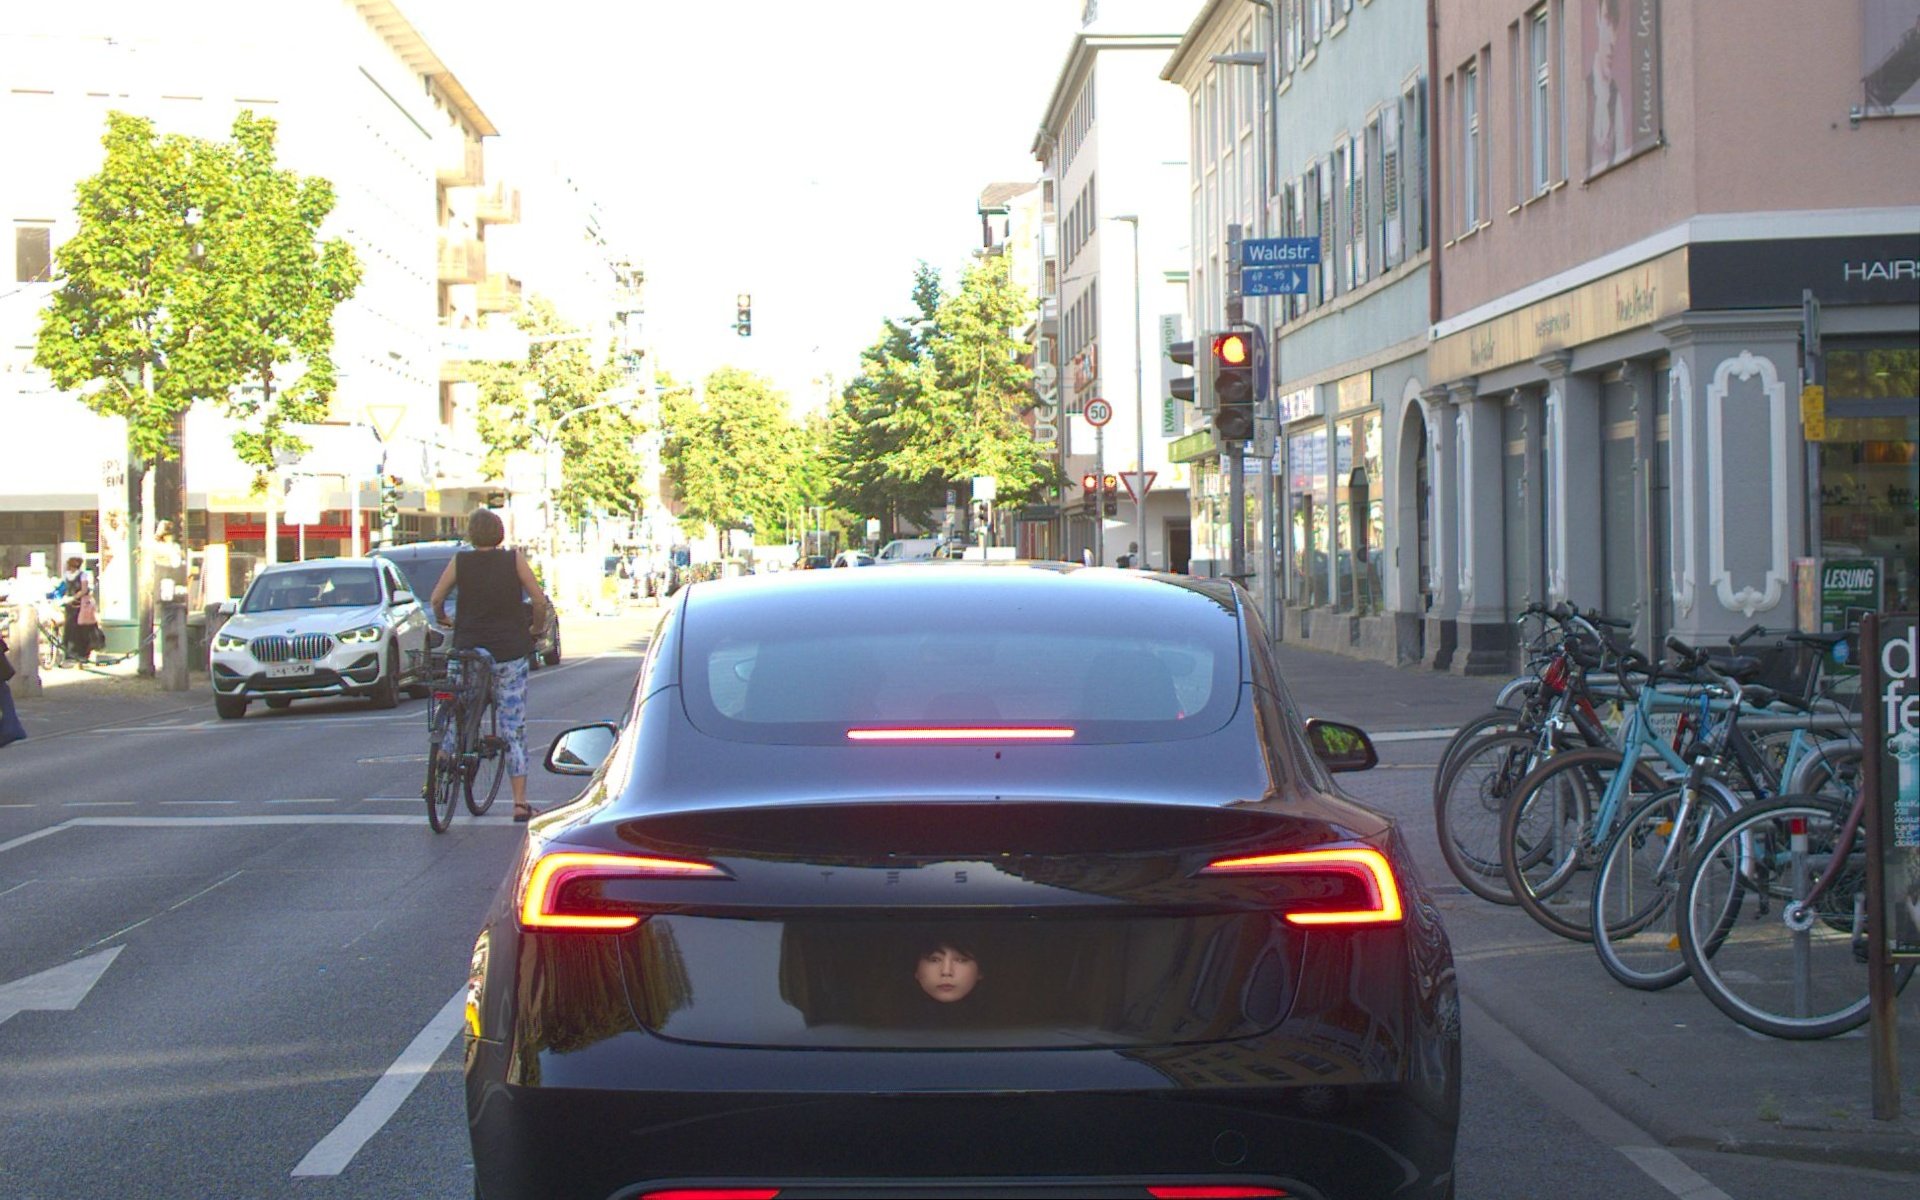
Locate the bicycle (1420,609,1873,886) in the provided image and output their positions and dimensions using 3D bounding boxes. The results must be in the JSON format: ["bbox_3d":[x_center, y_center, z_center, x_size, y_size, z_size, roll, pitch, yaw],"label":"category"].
[{"bbox_3d":[2.921,0.619,14.743,1.813,1.148,0.653,0,1,1],"label":"bicycle"}]

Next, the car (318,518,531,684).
[{"bbox_3d":[-6.575,-0.029,42.670,1.945,1.940,4.820,0,1,-1],"label":"car"}]

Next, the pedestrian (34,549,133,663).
[{"bbox_3d":[-12.564,0.080,49.312,1.092,1.606,1.266,1,0,-1],"label":"pedestrian"}]

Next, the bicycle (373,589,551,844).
[{"bbox_3d":[-2.645,0.589,18.436,0.628,1.218,2.001,1,2,1],"label":"bicycle"}]

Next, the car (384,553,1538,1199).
[{"bbox_3d":[-0.026,0.636,7.780,1.850,1.442,4.452,1,1,-1],"label":"car"}]

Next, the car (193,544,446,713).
[{"bbox_3d":[-6.690,0.261,36.347,1.825,1.559,4.301,-4,1,-1],"label":"car"}]

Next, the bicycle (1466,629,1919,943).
[{"bbox_3d":[2.798,0.663,12.535,1.813,1.098,0.653,0,1,1],"label":"bicycle"}]

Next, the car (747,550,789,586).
[{"bbox_3d":[-10.446,-1.745,187.140,2.132,1.963,4.134,0,1,-1],"label":"car"}]

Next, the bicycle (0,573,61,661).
[{"bbox_3d":[-14.491,0.224,49.872,2.662,1.255,0.943,1,0,-3],"label":"bicycle"}]

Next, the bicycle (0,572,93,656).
[{"bbox_3d":[-14.536,0.196,52.147,2.542,1.247,0.943,1,0,-3],"label":"bicycle"}]

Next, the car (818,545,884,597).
[{"bbox_3d":[-3.786,-1.021,120.116,2.035,1.782,4.006,0,1,2],"label":"car"}]

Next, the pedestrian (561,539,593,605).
[{"bbox_3d":[-10.815,-0.795,97.010,0.732,1.861,0.791,1,0,-17],"label":"pedestrian"}]

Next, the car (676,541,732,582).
[{"bbox_3d":[-12.398,-1.872,166.458,2.414,1.963,4.678,0,1,-1],"label":"car"}]

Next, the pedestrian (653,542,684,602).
[{"bbox_3d":[-9.038,-0.867,106.650,0.774,1.861,1.009,1,0,-15],"label":"pedestrian"}]

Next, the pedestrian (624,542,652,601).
[{"bbox_3d":[-10.324,-0.923,110.326,0.694,1.861,0.910,1,0,-17],"label":"pedestrian"}]

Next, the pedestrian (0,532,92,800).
[{"bbox_3d":[-6.489,0.410,22.571,1.111,1.714,1.060,1,0,20],"label":"pedestrian"}]

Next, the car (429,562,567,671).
[{"bbox_3d":[-6.657,0.211,49.803,1.461,1.425,3.606,-4,1,-1],"label":"car"}]

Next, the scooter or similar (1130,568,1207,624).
[{"bbox_3d":[4.255,-0.079,70.317,1.333,1.131,0.810,1,0,-24],"label":"scooter or similar"}]

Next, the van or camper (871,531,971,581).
[{"bbox_3d":[-1.904,-2.137,167.555,4.850,2.430,1.851,0,1,-1],"label":"van or camper"}]

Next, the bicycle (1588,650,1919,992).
[{"bbox_3d":[2.998,0.699,11.129,1.813,1.056,0.653,0,1,1],"label":"bicycle"}]

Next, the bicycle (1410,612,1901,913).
[{"bbox_3d":[2.729,0.627,13.609,1.813,1.148,0.653,0,1,1],"label":"bicycle"}]

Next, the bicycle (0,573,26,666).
[{"bbox_3d":[-14.489,0.242,47.553,2.875,1.266,0.943,1,0,-3],"label":"bicycle"}]

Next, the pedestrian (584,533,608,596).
[{"bbox_3d":[-10.999,-1.072,103.885,0.695,1.861,0.659,1,0,-5],"label":"pedestrian"}]

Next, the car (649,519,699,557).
[{"bbox_3d":[-15.652,-3.360,188.287,2.275,2.007,4.717,1,1,1],"label":"car"}]

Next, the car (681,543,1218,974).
[{"bbox_3d":[-0.062,0.531,14.205,1.850,1.476,4.452,1,1,-1],"label":"car"}]

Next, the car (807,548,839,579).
[{"bbox_3d":[-8.273,-2.223,208.492,1.892,1.807,3.925,1,1,-2],"label":"car"}]

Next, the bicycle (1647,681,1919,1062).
[{"bbox_3d":[3.024,0.766,10.057,1.882,1.040,0.653,-1,1,1],"label":"bicycle"}]

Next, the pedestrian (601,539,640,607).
[{"bbox_3d":[-9.332,-0.749,94.540,0.734,1.861,0.789,1,0,28],"label":"pedestrian"}]

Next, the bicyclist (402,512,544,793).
[{"bbox_3d":[-2.637,0.273,18.674,0.606,1.479,0.958,1,0,1],"label":"bicyclist"}]

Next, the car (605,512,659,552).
[{"bbox_3d":[-17.129,-3.539,179.648,2.275,2.007,4.717,1,1,1],"label":"car"}]

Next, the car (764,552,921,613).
[{"bbox_3d":[-2.747,-0.410,81.014,1.697,1.385,3.908,1,1,35],"label":"car"}]

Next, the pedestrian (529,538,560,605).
[{"bbox_3d":[-11.712,-0.807,96.940,0.732,1.861,0.791,1,0,-17],"label":"pedestrian"}]

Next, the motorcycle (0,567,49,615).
[{"bbox_3d":[-21.136,-0.195,74.881,2.378,1.032,0.783,0,1,-32],"label":"motorcycle"}]

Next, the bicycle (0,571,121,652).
[{"bbox_3d":[-14.697,0.169,54.571,2.542,1.247,0.943,1,0,-3],"label":"bicycle"}]

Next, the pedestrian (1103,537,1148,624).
[{"bbox_3d":[3.359,-0.395,69.847,0.658,1.754,0.654,1,0,-24],"label":"pedestrian"}]
